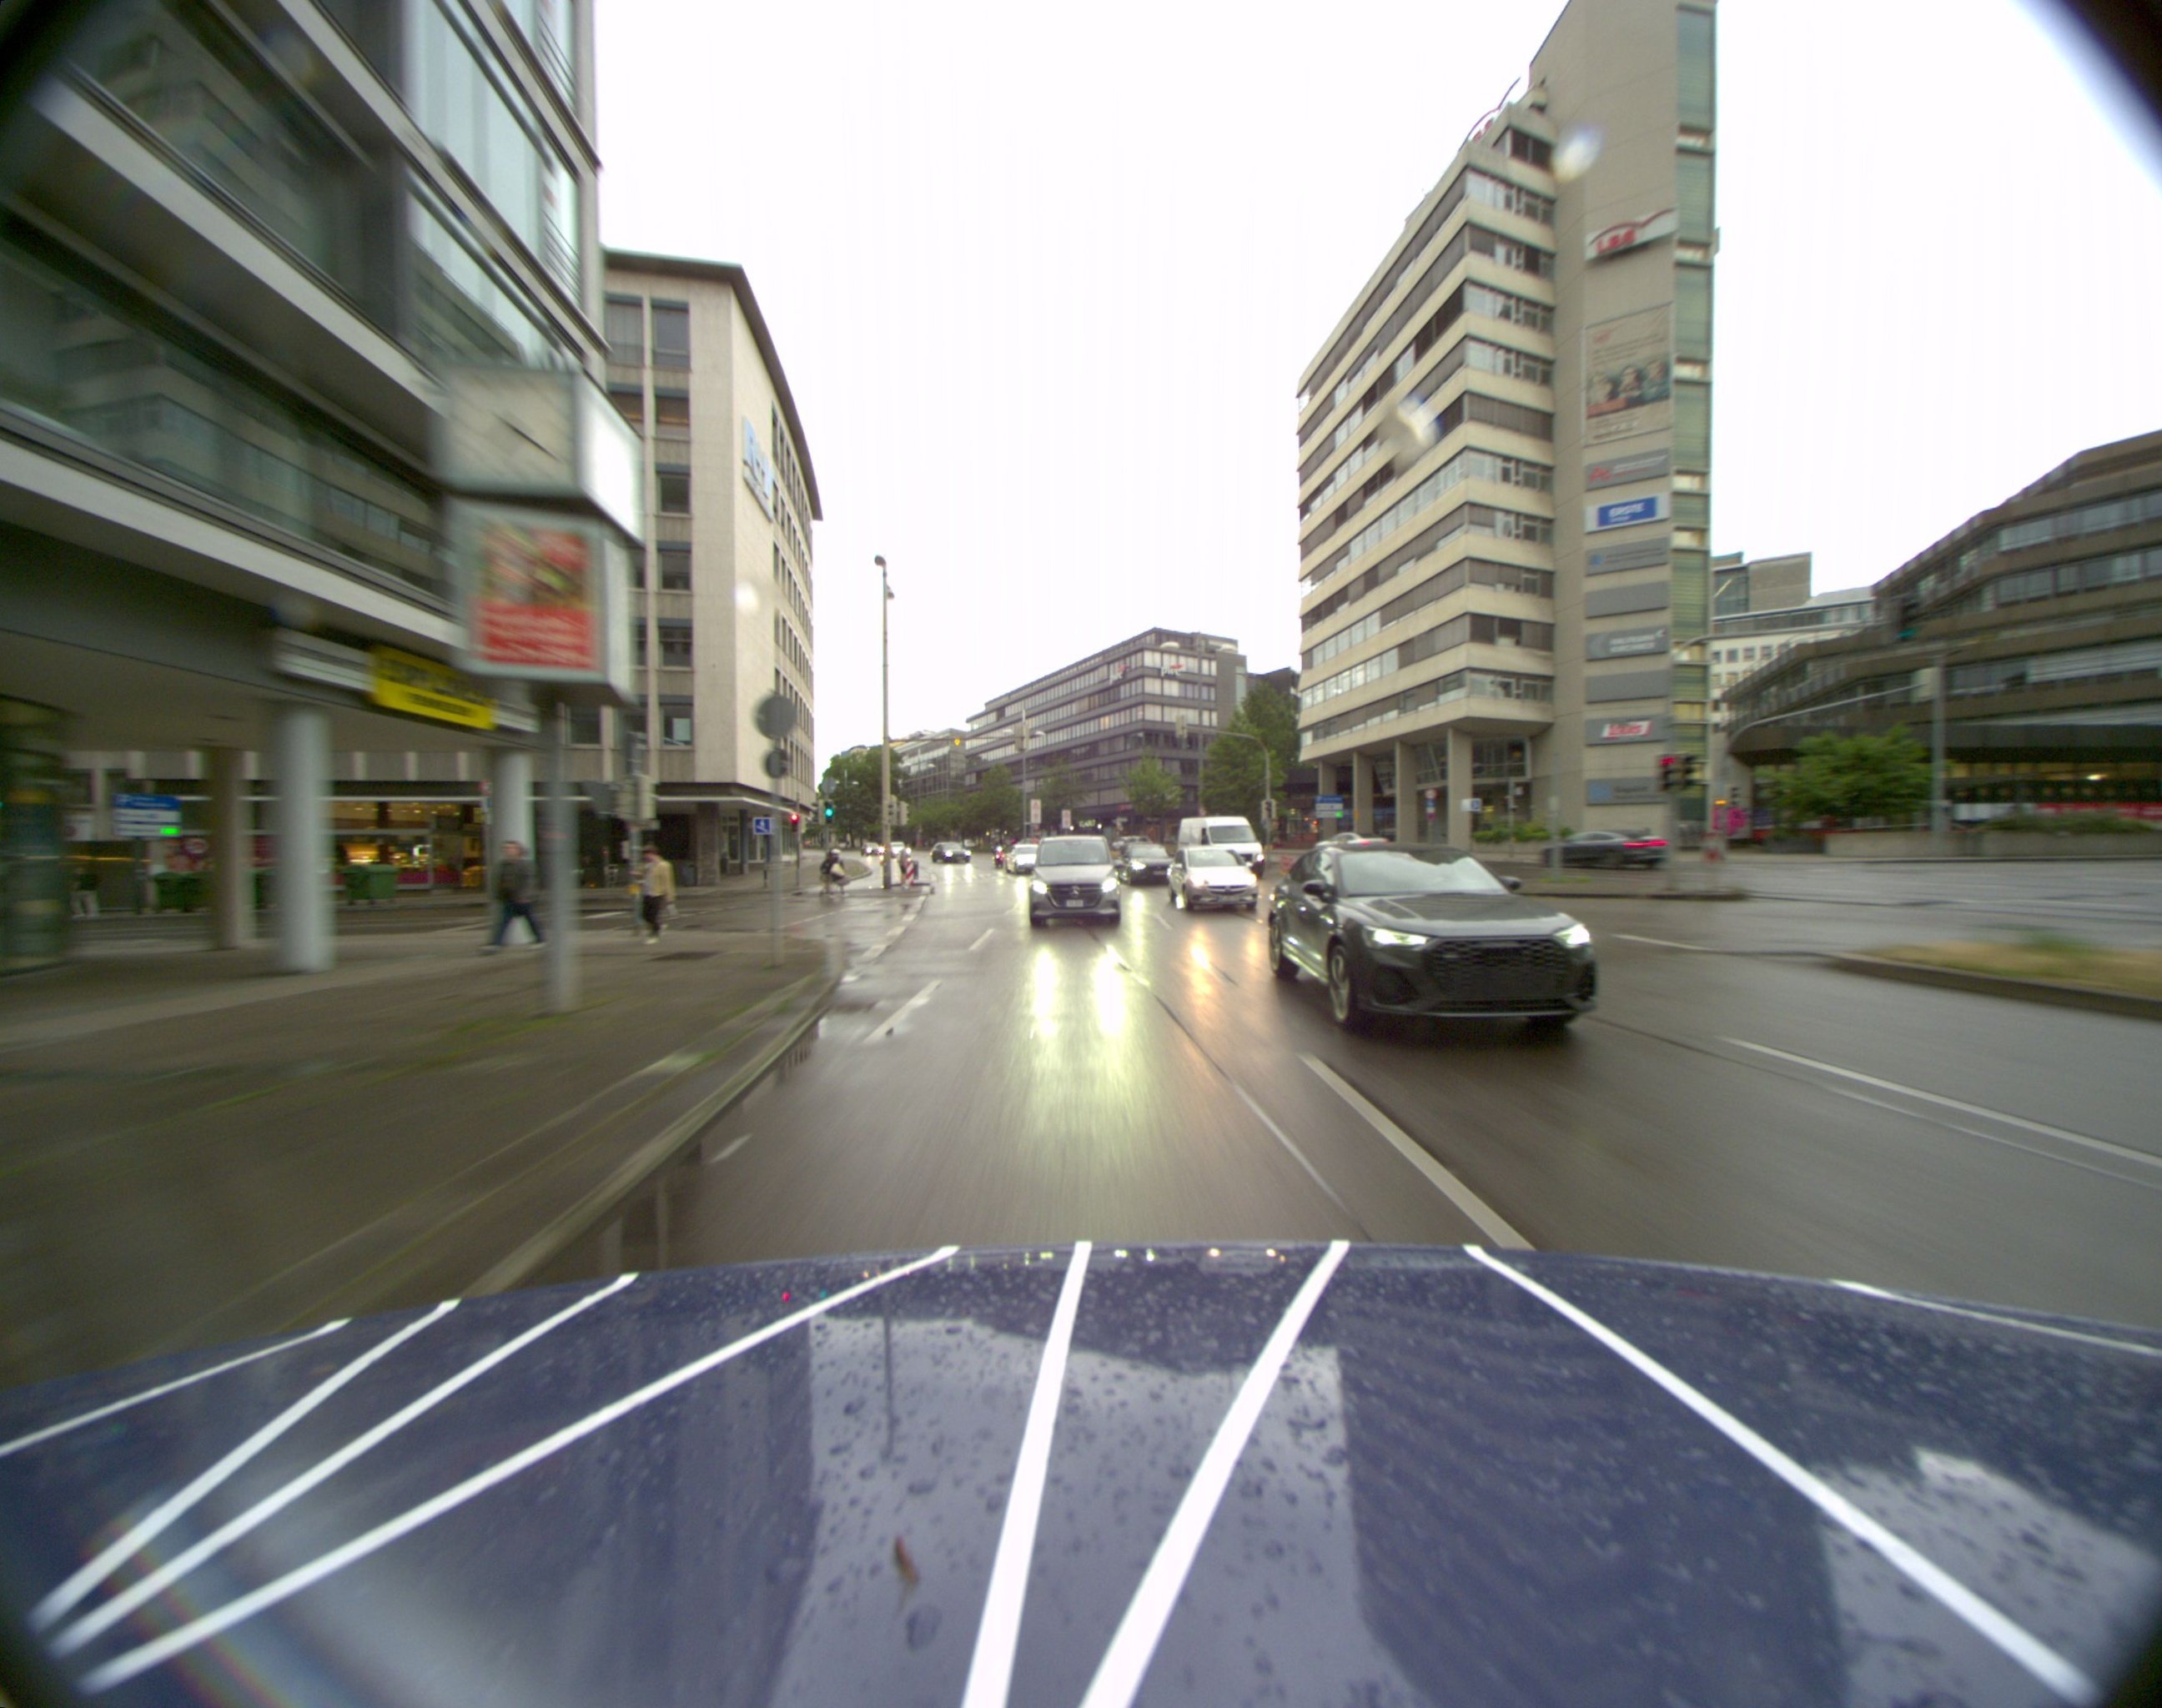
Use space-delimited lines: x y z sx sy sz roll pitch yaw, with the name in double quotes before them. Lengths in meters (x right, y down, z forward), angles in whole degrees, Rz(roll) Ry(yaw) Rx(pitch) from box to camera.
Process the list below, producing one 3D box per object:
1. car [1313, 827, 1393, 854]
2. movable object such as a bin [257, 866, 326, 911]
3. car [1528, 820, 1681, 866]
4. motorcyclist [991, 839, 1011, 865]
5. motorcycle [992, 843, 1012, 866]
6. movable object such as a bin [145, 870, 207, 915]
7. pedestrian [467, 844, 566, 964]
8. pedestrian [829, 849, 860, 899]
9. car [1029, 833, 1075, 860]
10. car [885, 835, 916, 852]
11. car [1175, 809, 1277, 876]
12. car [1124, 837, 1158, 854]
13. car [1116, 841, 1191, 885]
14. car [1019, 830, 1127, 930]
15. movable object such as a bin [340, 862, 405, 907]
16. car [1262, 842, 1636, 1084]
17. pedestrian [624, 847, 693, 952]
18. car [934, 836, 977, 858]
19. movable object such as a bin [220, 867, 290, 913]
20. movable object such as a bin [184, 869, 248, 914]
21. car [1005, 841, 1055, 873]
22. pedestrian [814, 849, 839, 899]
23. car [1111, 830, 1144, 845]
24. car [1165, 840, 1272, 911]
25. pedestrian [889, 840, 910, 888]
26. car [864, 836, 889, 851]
"car" 16.419 -0.824 46.174 1.790 1.509 5.244 -3 2 -17
"movable object such as a bin" -27.644 1.189 26.633 0.987 1.452 1.369 -2 2 -11
"car" 20.357 -0.481 29.889 2.000 1.576 5.164 -2 2 -8
"motorcyclist" -4.894 -0.151 46.508 1.152 1.502 1.196 -2 2 -6
"motorcycle" -4.863 0.029 46.520 1.130 1.260 3.371 -2 2 -6
"movable object such as a bin" -31.027 1.306 26.074 0.869 1.452 0.967 -2 2 -11
"pedestrian" -8.725 0.746 11.779 0.793 1.772 0.894 -2 1 -2
"pedestrian" -7.782 0.646 25.045 0.654 1.589 1.058 -2 2 -4
"car" -1.854 -0.497 47.108 1.755 1.508 3.761 -3 2 -19
"car" -17.248 -0.991 72.497 1.895 1.478 3.990 -3 2 -27
"car" 5.739 -0.513 30.946 2.261 2.372 5.713 -2 2 -9
"car" 5.496 -0.851 70.198 1.744 1.456 3.993 -3 2 -18
"car" 2.561 0.266 27.921 1.905 1.394 4.237 -2 2 -6
"car" -0.178 0.436 17.471 2.059 1.882 5.047 -2 2 -1
"movable object such as a bin" -25.373 1.073 27.243 0.987 1.503 1.392 -2 2 -6
"car" 3.039 0.730 7.408 1.801 1.543 4.388 -2 2 5
"pedestrian" -7.422 0.768 13.372 0.641 1.772 0.880 -2 1 1
"car" -9.313 -0.508 56.085 1.895 1.478 3.990 -3 2 -28
"movable object such as a bin" -28.664 1.228 26.390 0.987 1.452 1.307 -2 2 -11
"movable object such as a bin" -29.707 1.269 26.120 0.987 1.452 0.961 -2 2 -11
"car" -2.668 0.114 38.998 1.692 1.478 3.993 -3 2 -16
"pedestrian" -8.382 0.654 25.038 0.527 1.589 0.730 -2 2 -4
"car" 4.854 -1.722 80.232 1.756 1.508 4.054 -3 2 -24
"car" 3.286 0.438 18.929 1.774 1.471 4.125 -2 2 -2
"pedestrian" -6.676 0.369 27.984 0.654 1.716 0.815 -3 2 -15
"car" -22.478 -1.176 83.468 1.895 1.478 3.990 -3 2 -27
